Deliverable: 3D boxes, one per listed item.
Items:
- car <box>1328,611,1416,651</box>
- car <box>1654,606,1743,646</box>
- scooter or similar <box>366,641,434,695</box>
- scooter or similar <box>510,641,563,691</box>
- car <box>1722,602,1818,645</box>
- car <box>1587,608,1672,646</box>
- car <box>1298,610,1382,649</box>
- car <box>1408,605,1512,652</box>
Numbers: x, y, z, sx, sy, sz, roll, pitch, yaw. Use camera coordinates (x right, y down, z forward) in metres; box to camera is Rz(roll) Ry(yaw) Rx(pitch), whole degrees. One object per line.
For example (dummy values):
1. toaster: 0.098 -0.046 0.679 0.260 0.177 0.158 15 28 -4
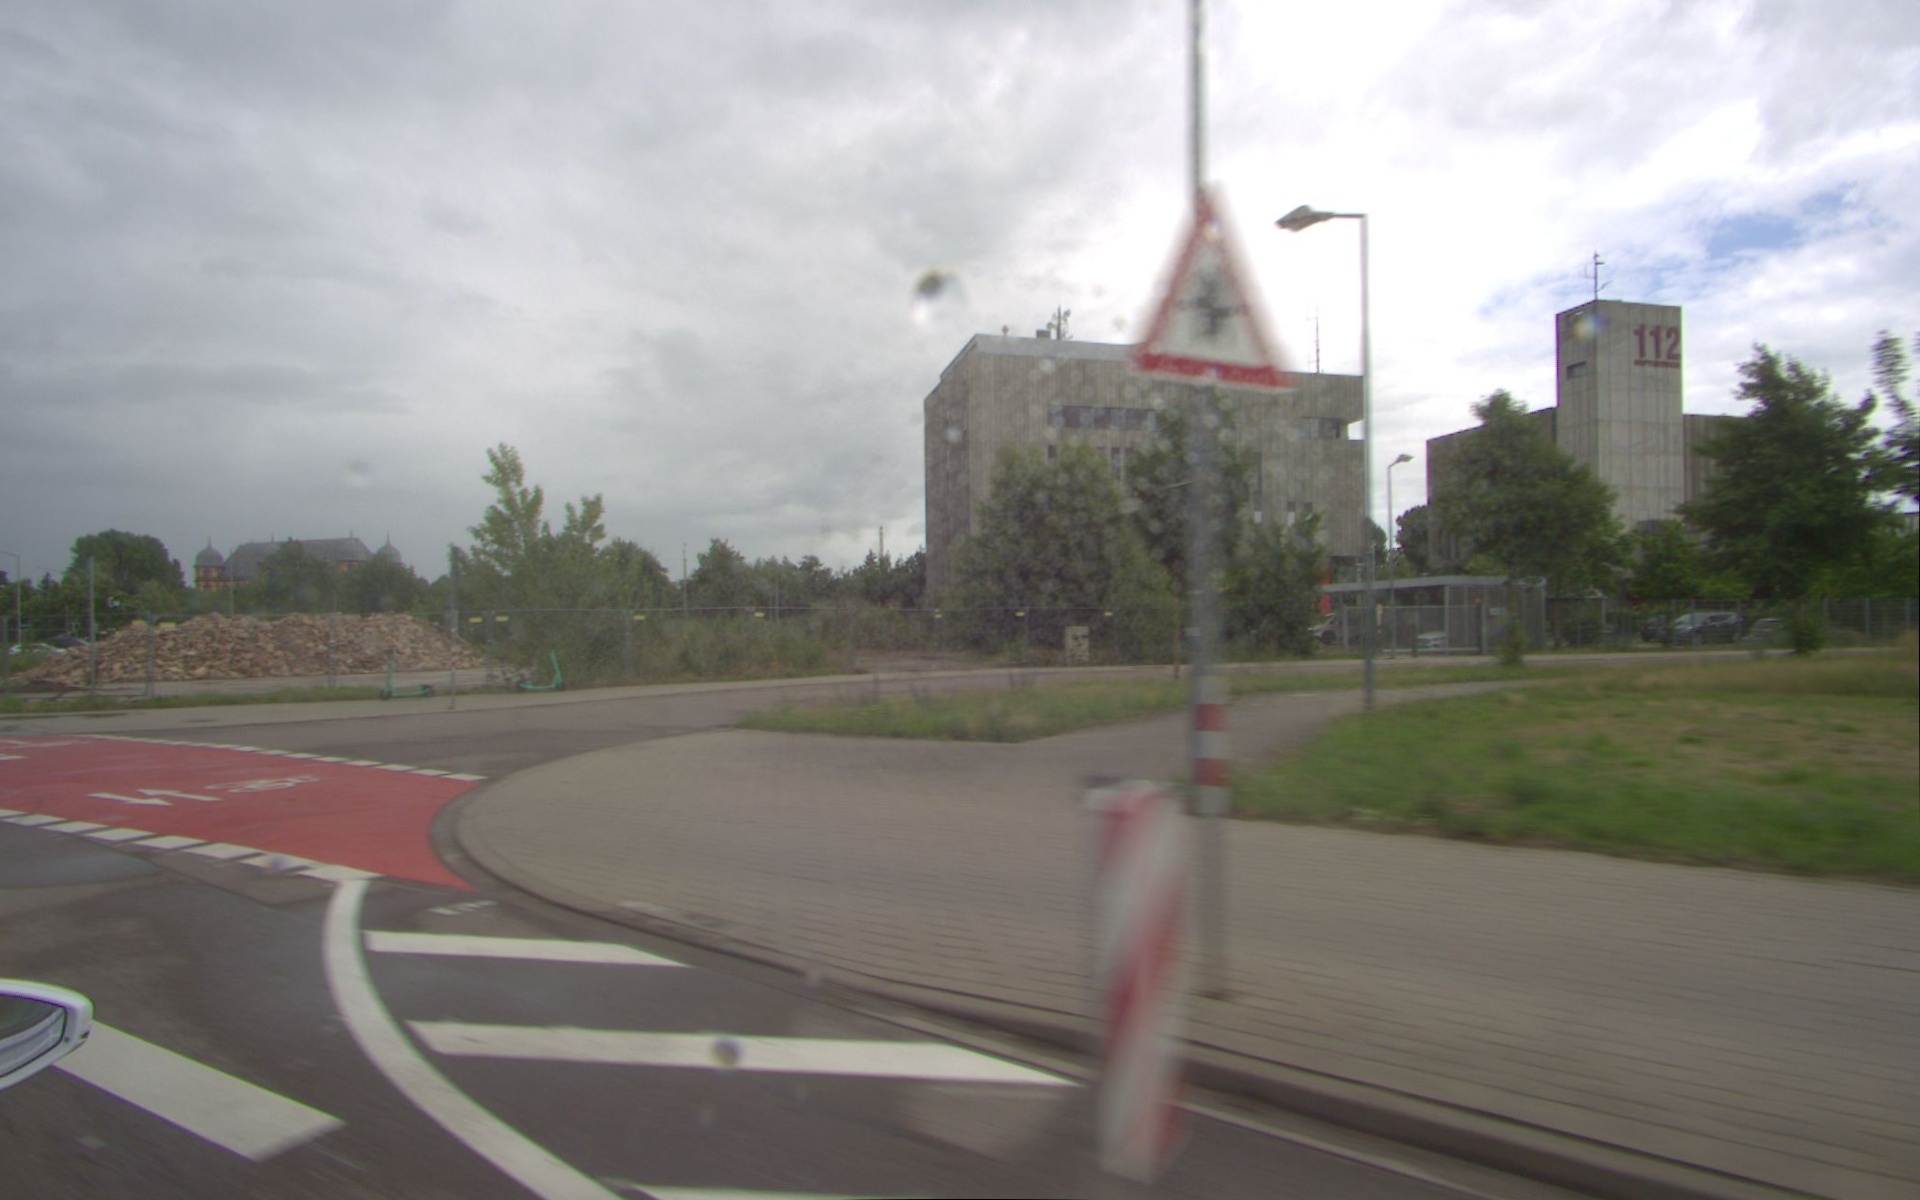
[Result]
1. car: 22.027 1.633 53.616 3.927 2.040 1.998 -1 -1 -14
2. car: 39.181 1.379 53.153 3.932 2.040 1.995 0 -1 -21
3. scooter or similar: -12.998 1.569 23.258 1.303 1.201 0.445 0 -1 -16
4. scooter or similar: -10.487 1.626 24.798 1.157 1.201 0.443 0 -1 -32
5. car: 40.231 1.161 49.724 3.932 2.040 1.995 0 -1 -21
6. car: 37.148 1.499 55.607 3.932 2.040 1.995 0 -1 -21
7. car: 21.192 1.643 55.862 3.927 2.040 1.998 -1 -1 -14
8. car: 23.066 1.307 46.245 3.927 2.040 1.998 0 -1 -15
